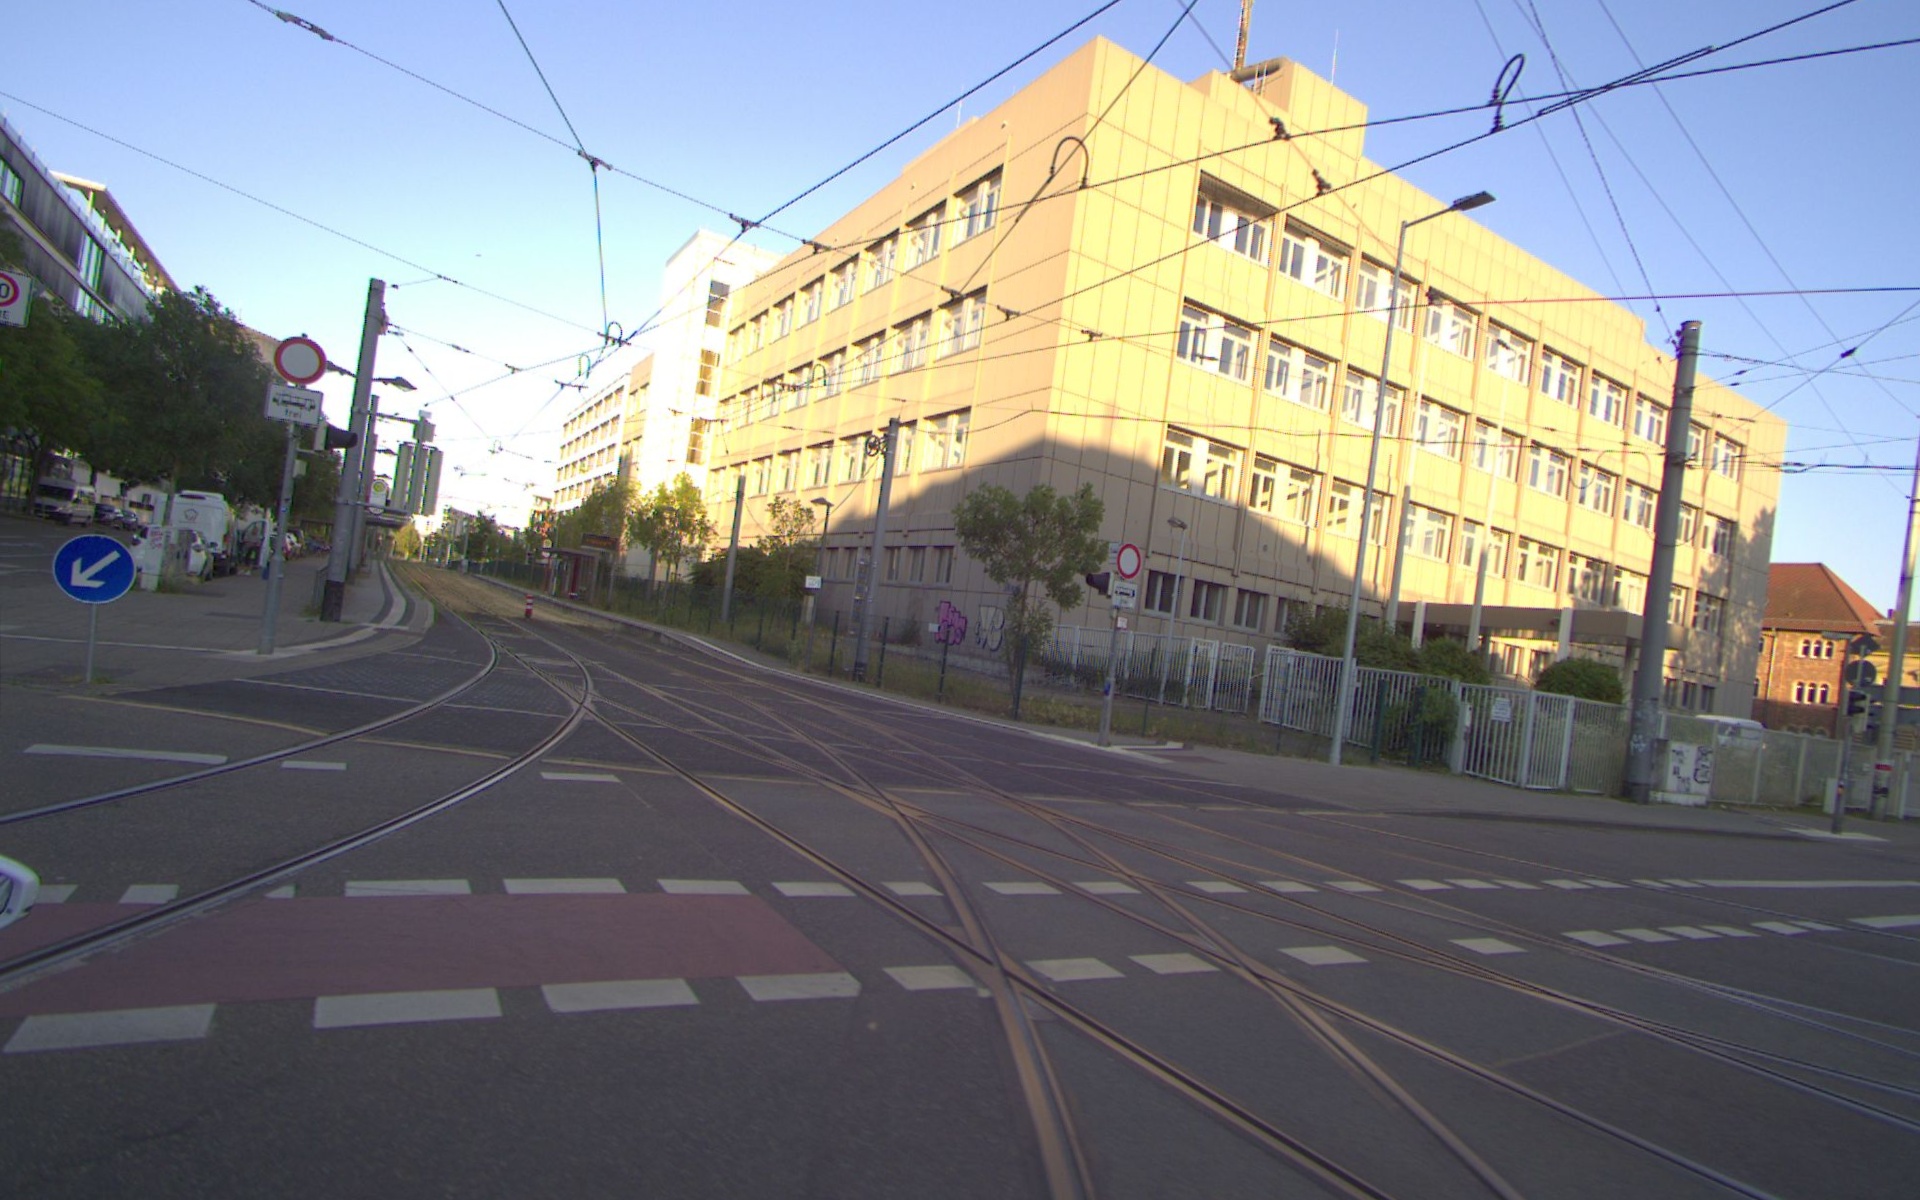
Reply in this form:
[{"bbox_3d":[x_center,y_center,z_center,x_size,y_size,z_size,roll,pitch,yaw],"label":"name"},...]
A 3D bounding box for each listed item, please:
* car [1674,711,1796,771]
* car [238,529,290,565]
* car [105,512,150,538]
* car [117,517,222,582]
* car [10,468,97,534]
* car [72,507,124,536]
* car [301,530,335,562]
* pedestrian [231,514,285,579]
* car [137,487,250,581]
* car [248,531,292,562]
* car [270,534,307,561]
[{"bbox_3d":[32.751,5.976,42.481,5.042,1.895,2.258,9,-2,-30],"label":"car"},{"bbox_3d":[-34.600,-2.622,50.080,1.671,1.455,4.093,9,-2,-31],"label":"car"},{"bbox_3d":[-60.078,-5.372,72.676,1.671,1.519,4.207,9,-2,-30],"label":"car"},{"bbox_3d":[-22.208,-1.405,28.413,1.671,1.455,4.093,9,-2,-31],"label":"car"},{"bbox_3d":[-52.045,-5.594,57.914,2.186,3.188,6.096,8,-1,-30],"label":"car"},{"bbox_3d":[-56.530,-5.103,66.049,1.671,1.519,4.207,9,-2,-30],"label":"car"},{"bbox_3d":[-49.183,-4.143,77.103,1.981,2.037,3.966,9,-2,-32],"label":"car"},{"bbox_3d":[-24.369,-1.865,34.937,0.968,2.054,1.041,7,-1,31],"label":"pedestrian"},{"bbox_3d":[-25.359,-2.172,33.511,2.447,2.511,5.755,9,-2,-34],"label":"car"},{"bbox_3d":[-39.203,-3.044,57.237,1.671,1.455,4.093,9,-2,-31],"label":"car"},{"bbox_3d":[-44.676,-3.475,66.971,1.671,1.455,4.093,9,-2,-31],"label":"car"}]
